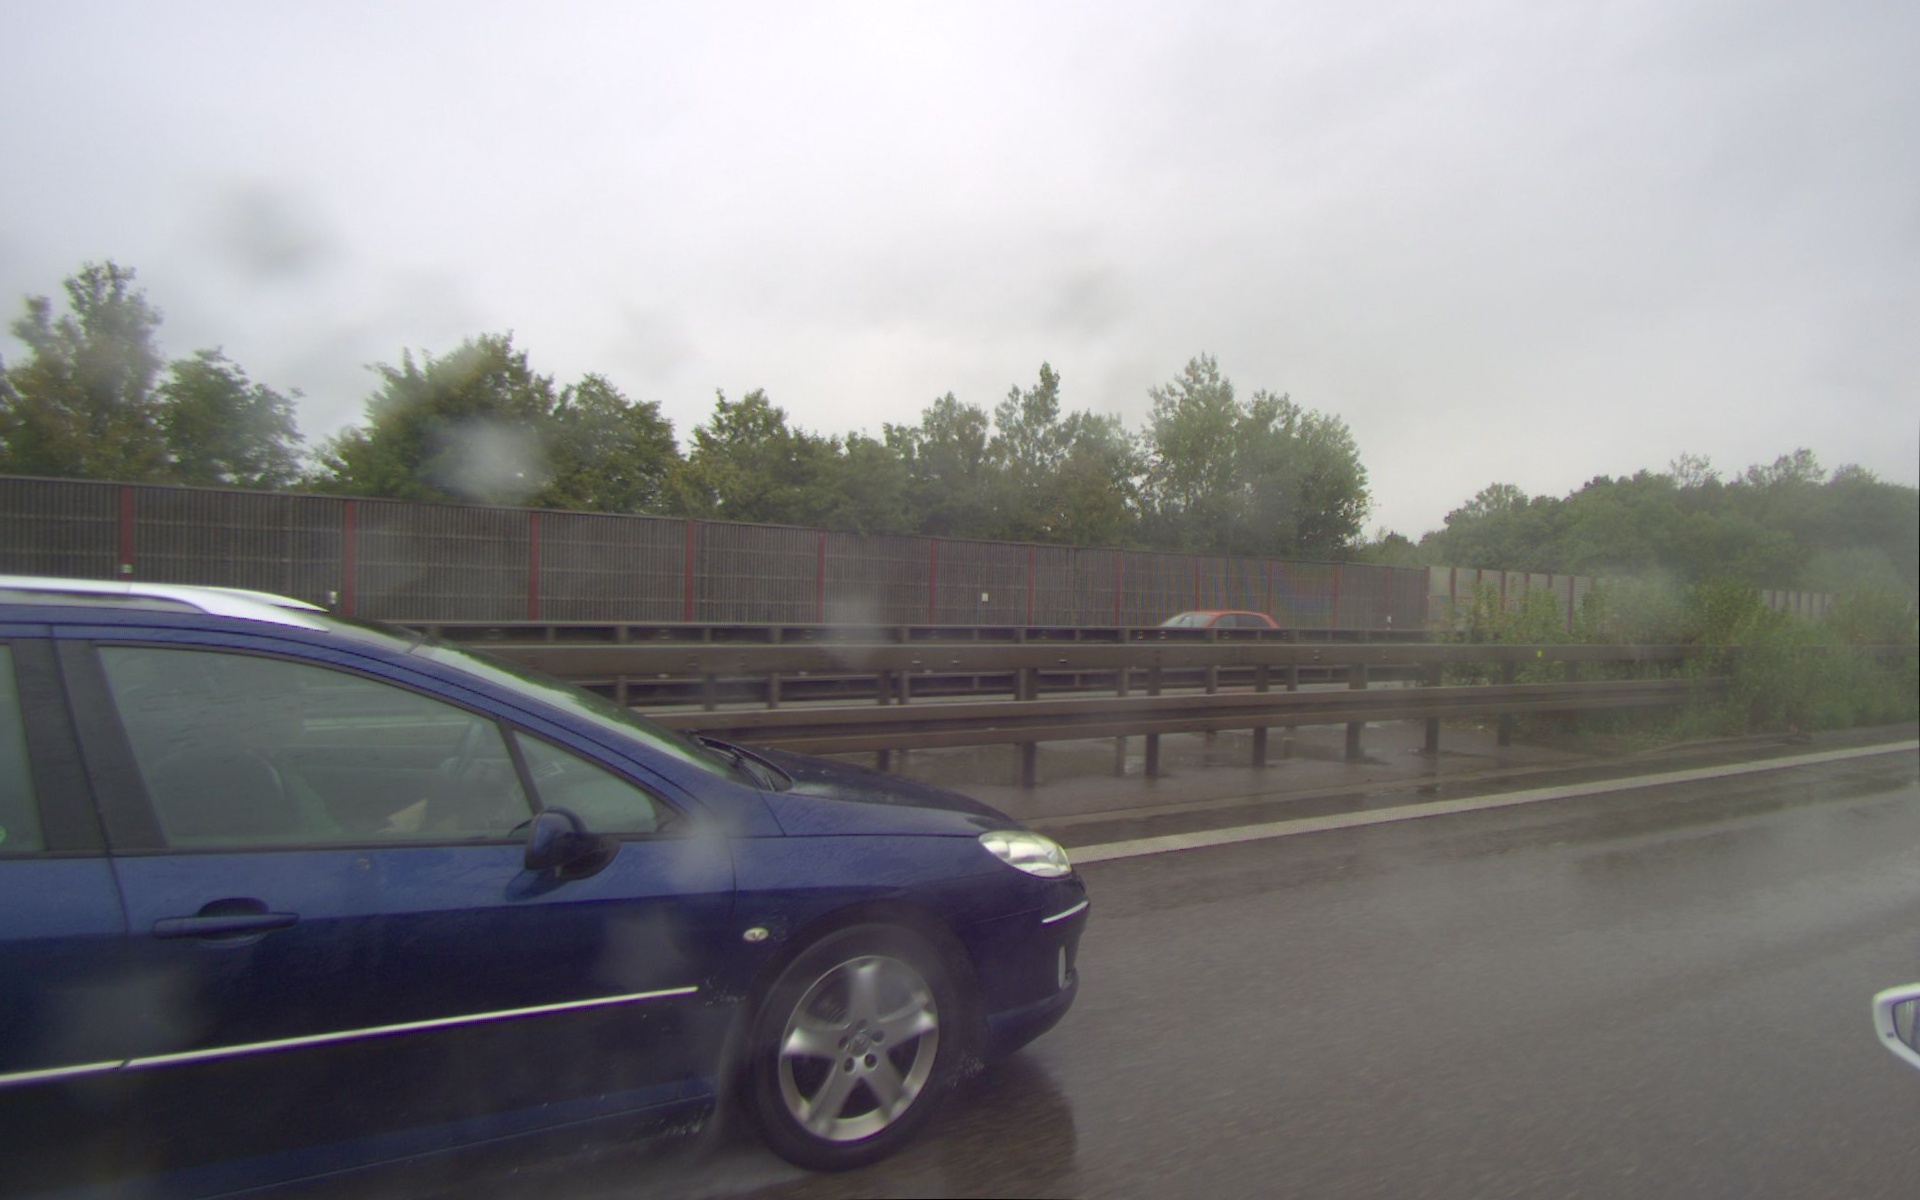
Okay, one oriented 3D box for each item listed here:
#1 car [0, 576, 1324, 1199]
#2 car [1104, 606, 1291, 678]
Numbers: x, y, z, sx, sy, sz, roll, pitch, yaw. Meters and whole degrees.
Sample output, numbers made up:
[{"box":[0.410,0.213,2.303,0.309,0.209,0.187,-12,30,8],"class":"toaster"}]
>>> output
[{"box":[-1.531,0.712,2.879,5.097,1.505,2.044,1,0,-30],"class":"car"},{"box":[5.084,0.874,21.448,3.697,1.401,1.739,1,0,-30],"class":"car"}]
